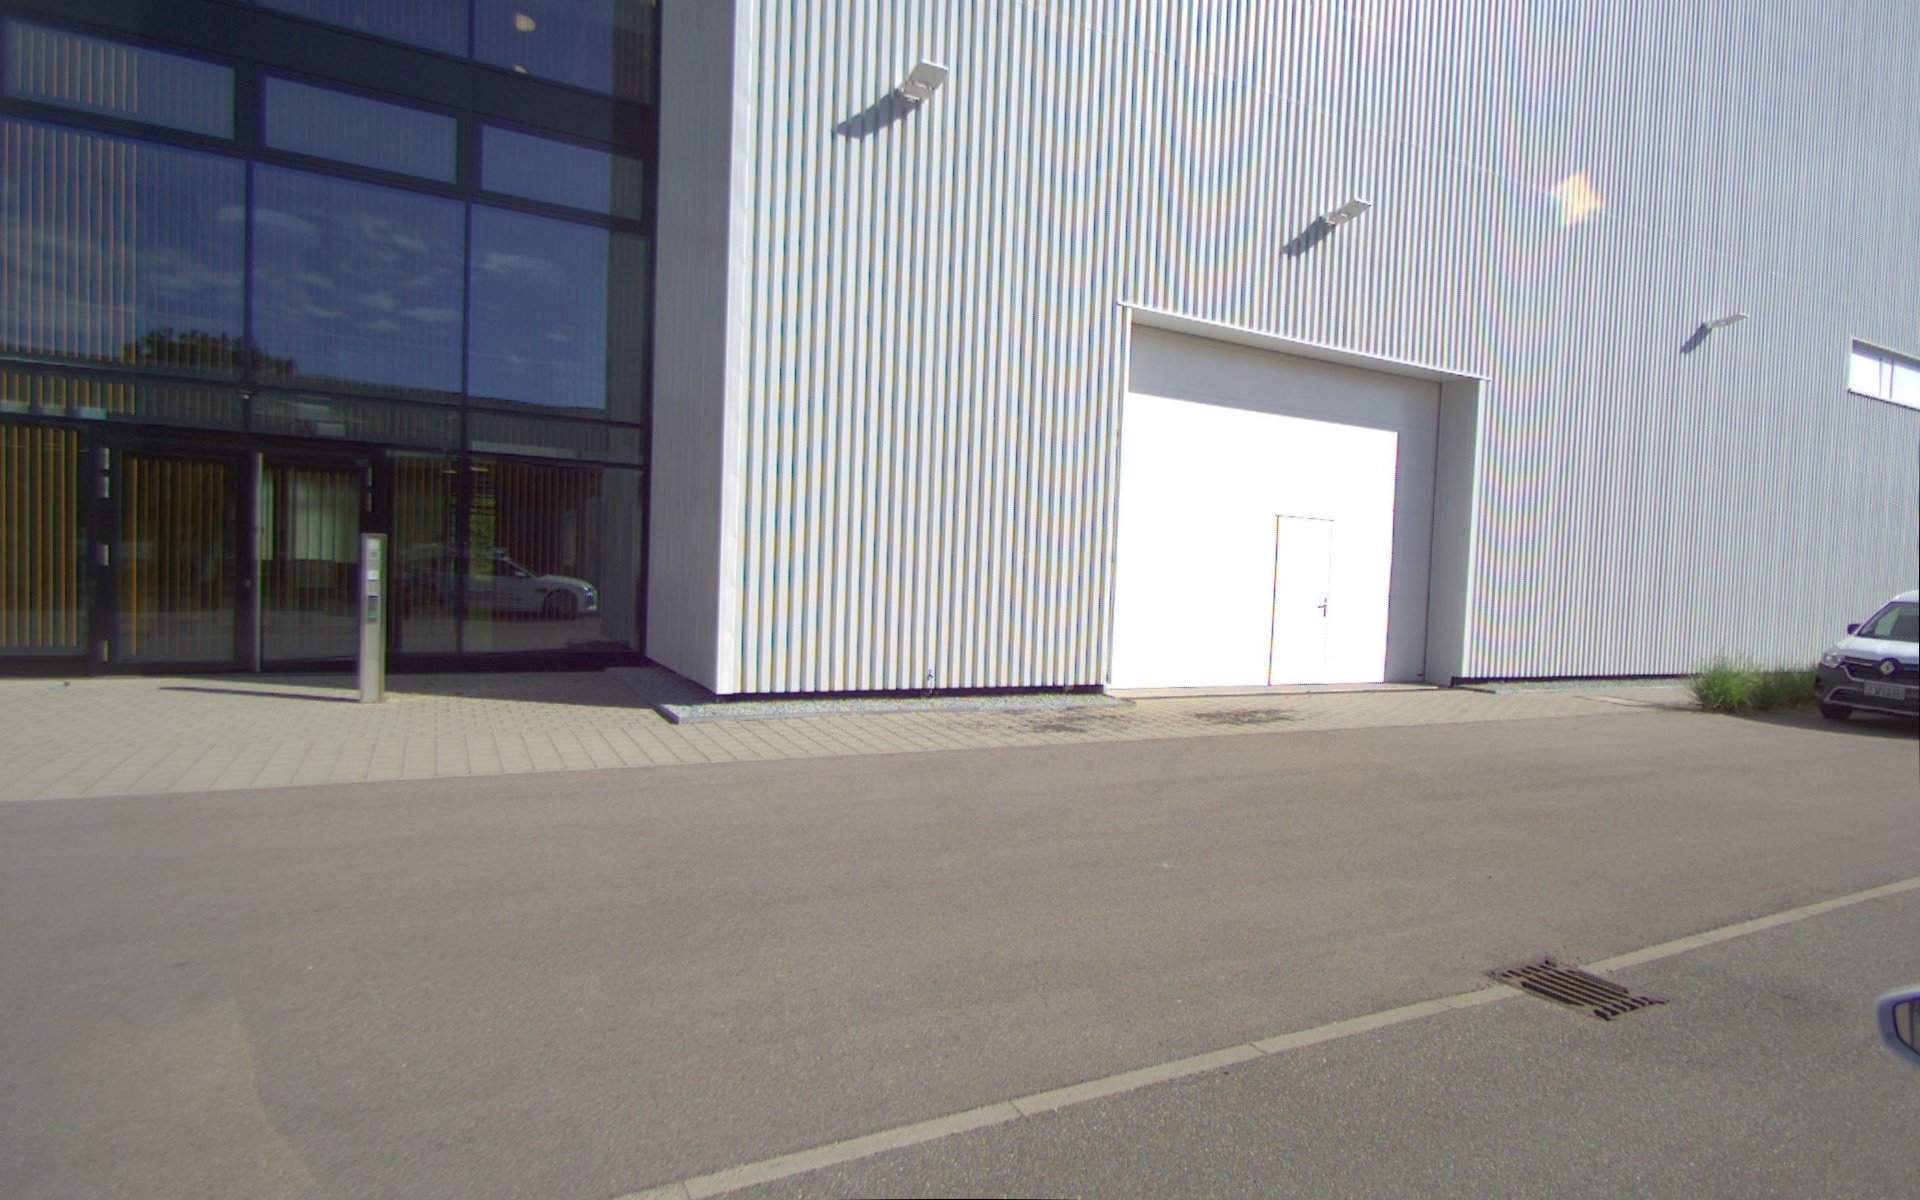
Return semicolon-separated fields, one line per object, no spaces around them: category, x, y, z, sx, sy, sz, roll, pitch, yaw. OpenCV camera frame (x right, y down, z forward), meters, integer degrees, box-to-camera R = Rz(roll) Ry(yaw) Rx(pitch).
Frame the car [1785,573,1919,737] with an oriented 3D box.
car;13.066;0.705;13.200;4.305;1.870;1.882;1;4;-29
